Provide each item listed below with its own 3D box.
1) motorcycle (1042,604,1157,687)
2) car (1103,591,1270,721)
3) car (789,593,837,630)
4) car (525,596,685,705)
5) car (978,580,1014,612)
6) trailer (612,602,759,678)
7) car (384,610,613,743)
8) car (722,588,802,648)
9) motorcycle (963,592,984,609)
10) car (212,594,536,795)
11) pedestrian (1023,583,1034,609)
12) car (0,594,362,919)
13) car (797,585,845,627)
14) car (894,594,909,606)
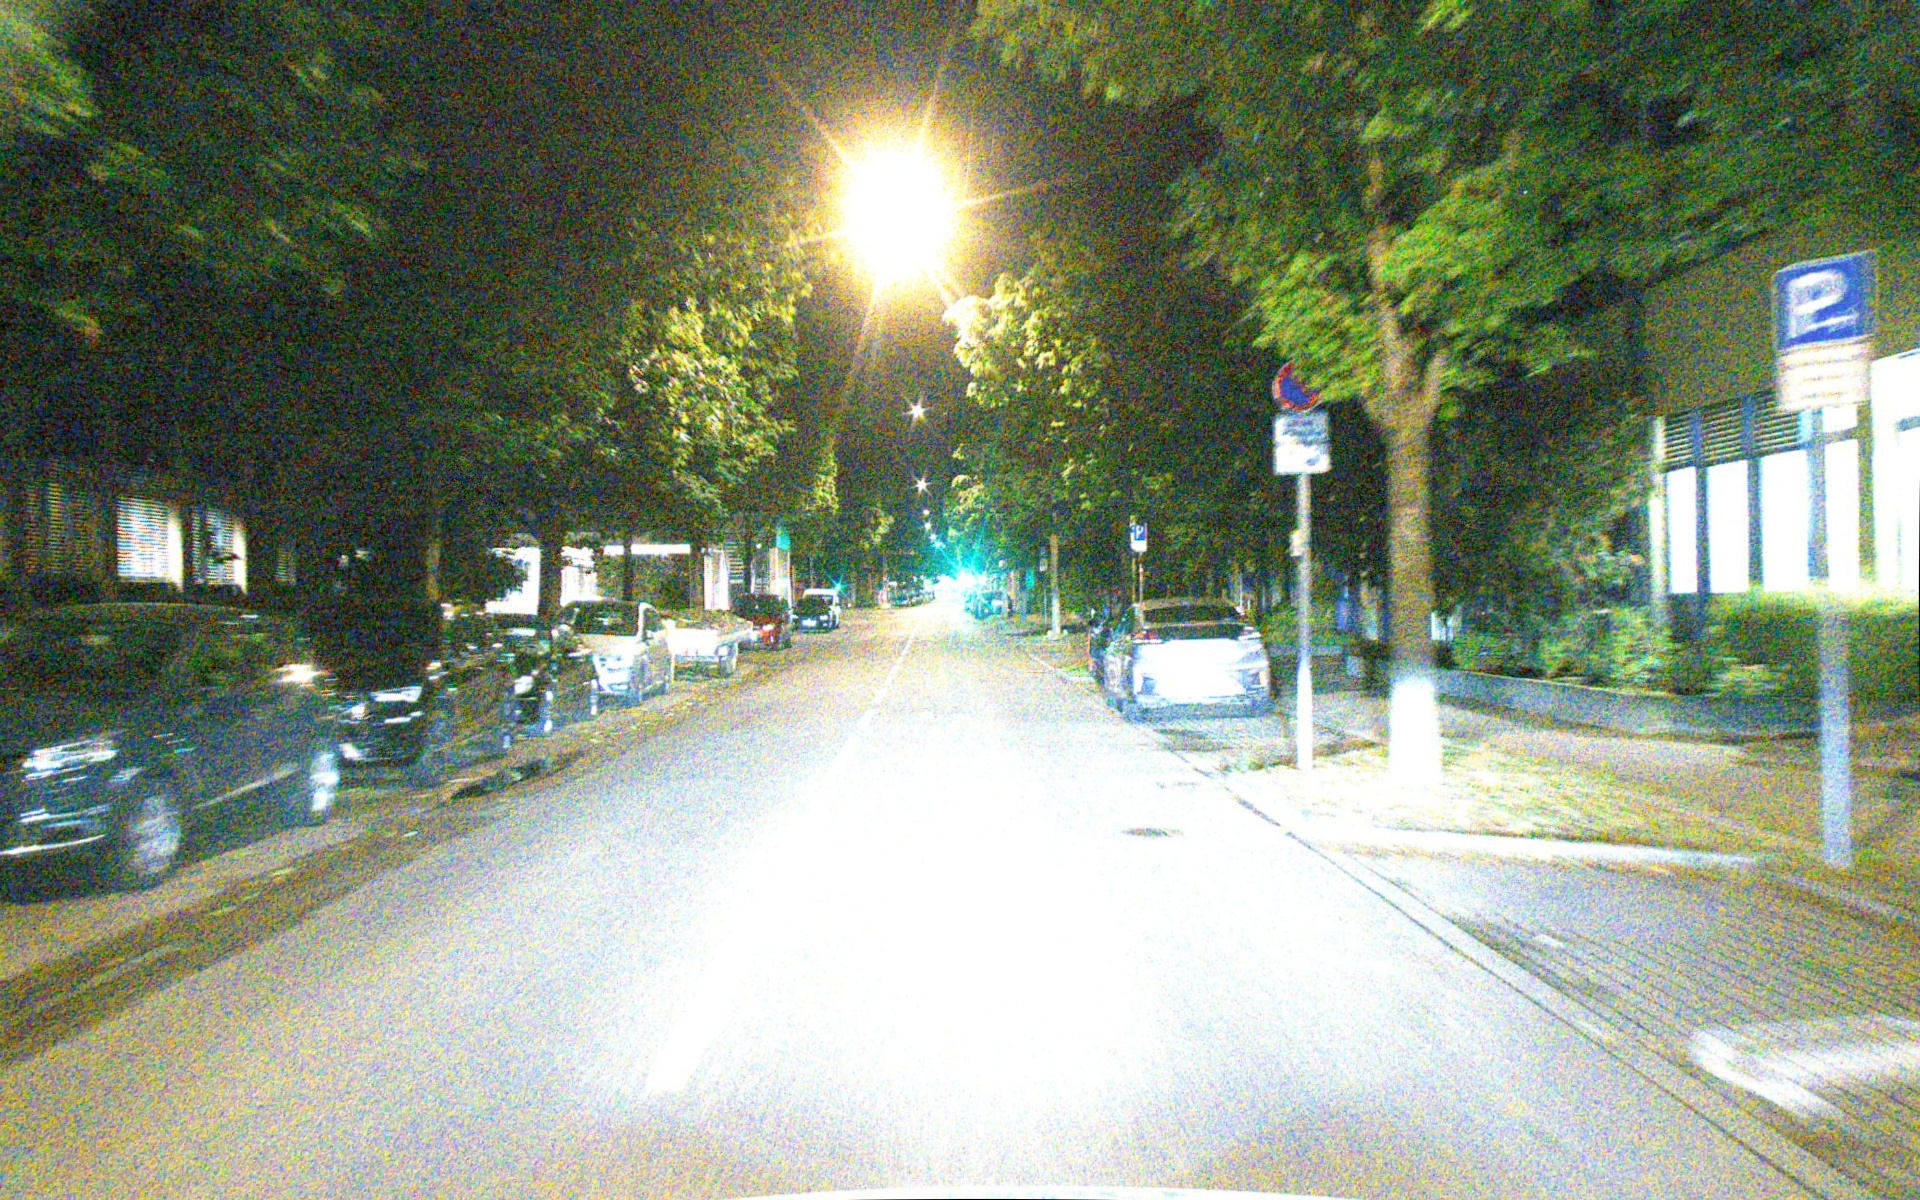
[{"bbox_3d":[2.300,0.734,27.615,0.914,1.306,2.216,-1,0,-25],"label":"motorcycle"},{"bbox_3d":[2.829,0.643,21.442,1.634,1.454,4.148,-2,0,1],"label":"car"},{"bbox_3d":[-6.274,0.477,71.039,1.665,1.458,3.828,3,0,0],"label":"car"},{"bbox_3d":[-5.560,0.736,26.386,1.682,1.528,4.204,2,0,-2],"label":"car"},{"bbox_3d":[1.980,-0.225,91.873,1.815,1.682,4.209,-2,0,0],"label":"car"},{"bbox_3d":[-5.603,0.770,34.430,2.067,1.358,5.435,2,0,0],"label":"trailer"},{"bbox_3d":[-5.659,0.875,20.875,1.670,1.436,4.632,0,0,-1],"label":"car"},{"bbox_3d":[-5.844,0.501,49.142,1.785,1.626,4.073,3,0,0],"label":"car"},{"bbox_3d":[1.098,0.034,133.061,0.625,1.292,2.058,0,0,34],"label":"motorcycle"},{"bbox_3d":[-5.386,0.778,15.809,1.707,1.634,4.296,1,0,-3],"label":"car"},{"bbox_3d":[4.613,-0.252,111.686,0.691,1.752,0.821,-2,0,-1],"label":"pedestrian"},{"bbox_3d":[-5.416,0.804,10.613,1.706,1.634,4.115,1,0,-1],"label":"car"},{"bbox_3d":[-6.467,0.267,77.272,1.785,1.843,4.210,3,0,0],"label":"car"},{"bbox_3d":[-7.096,0.050,199.780,1.705,1.440,3.751,0,0,0],"label":"car"}]
